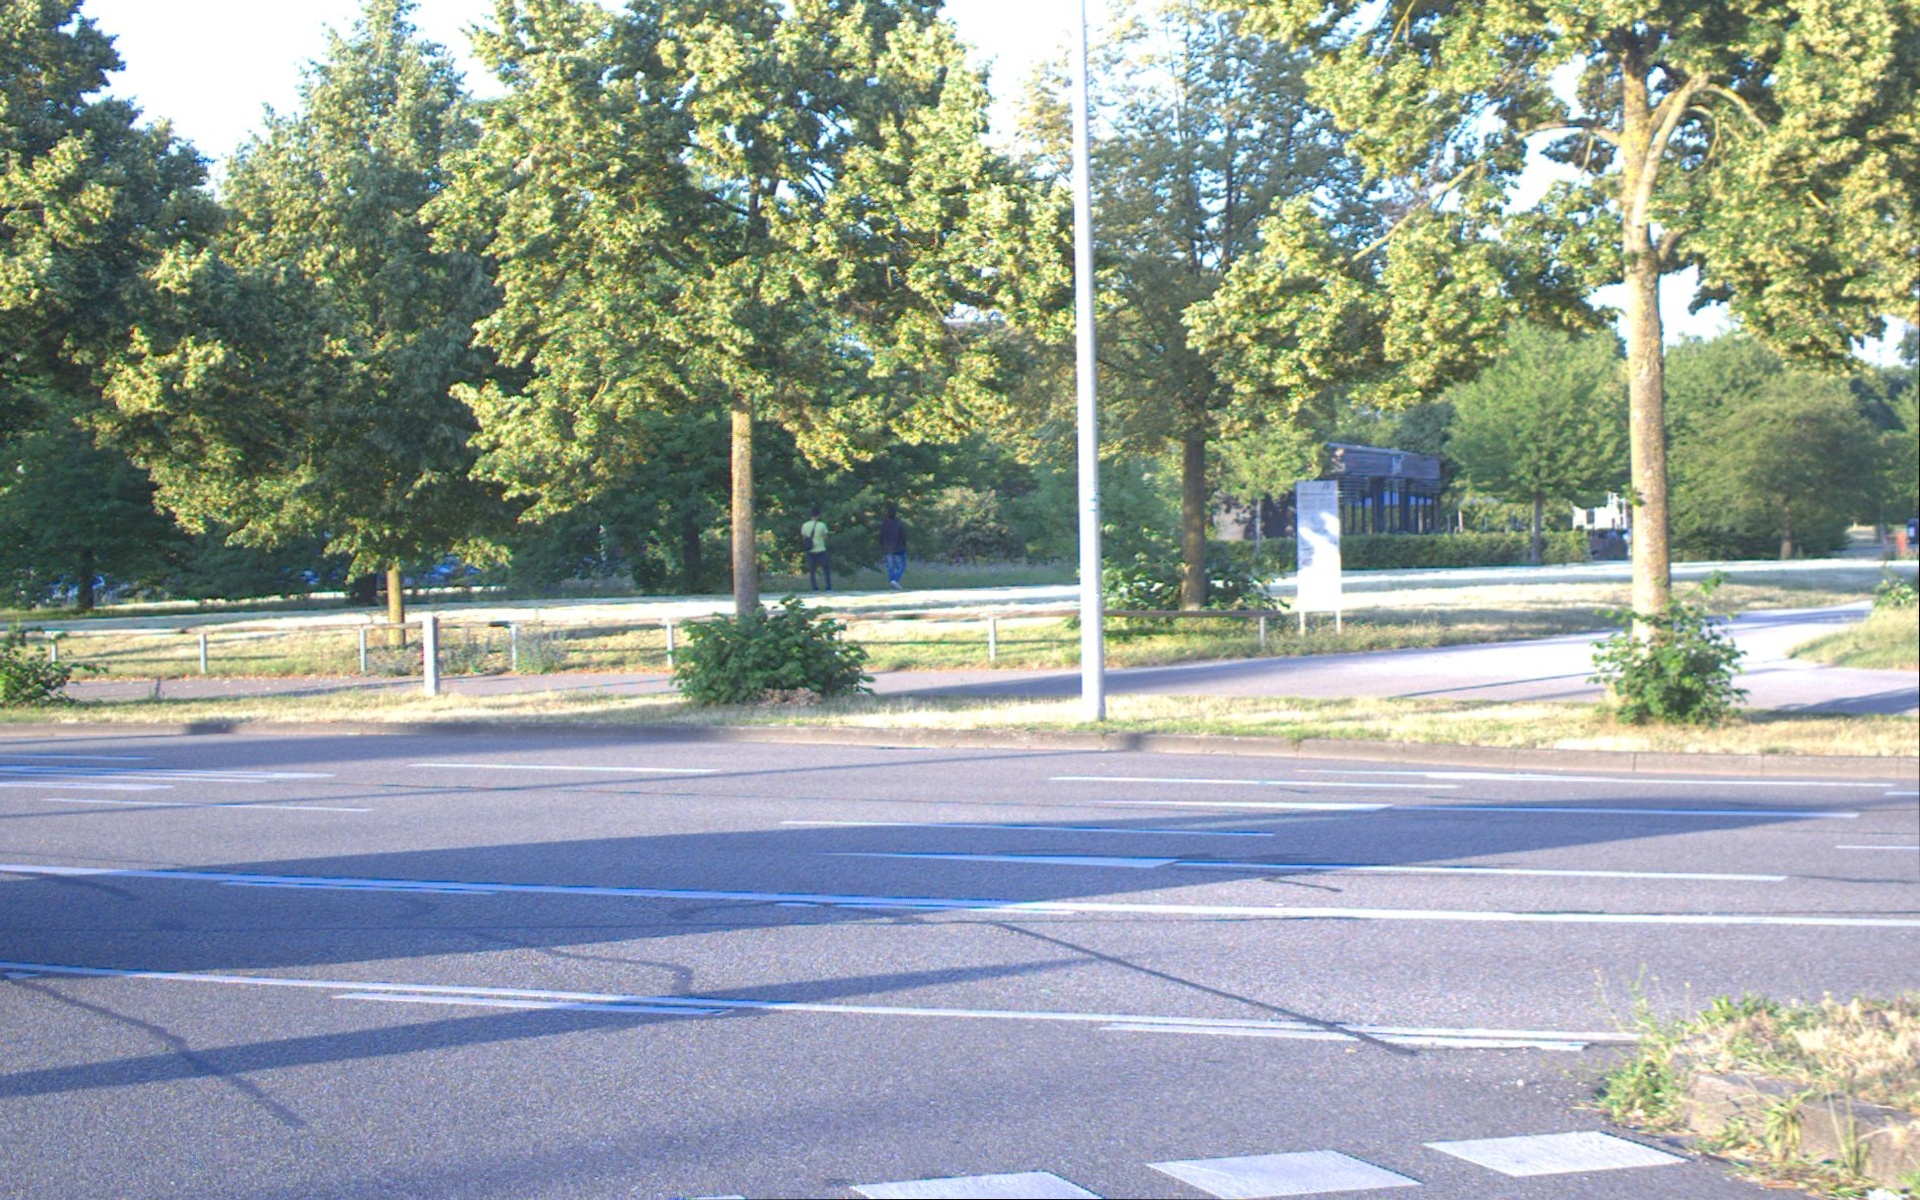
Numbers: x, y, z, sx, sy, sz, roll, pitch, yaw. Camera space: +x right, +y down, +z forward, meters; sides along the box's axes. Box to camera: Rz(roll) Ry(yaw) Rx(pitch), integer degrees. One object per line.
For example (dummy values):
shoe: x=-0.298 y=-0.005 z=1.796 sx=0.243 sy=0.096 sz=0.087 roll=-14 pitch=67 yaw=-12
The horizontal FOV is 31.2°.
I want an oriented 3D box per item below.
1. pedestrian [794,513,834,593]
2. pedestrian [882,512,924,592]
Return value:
pedestrian: x=-2.973 y=-0.957 z=69.987 sx=0.579 sy=1.621 sz=0.533 roll=-2 pitch=1 yaw=-30
pedestrian: x=-1.165 y=-0.978 z=69.876 sx=0.618 sy=1.621 sz=0.530 roll=-2 pitch=1 yaw=-40
